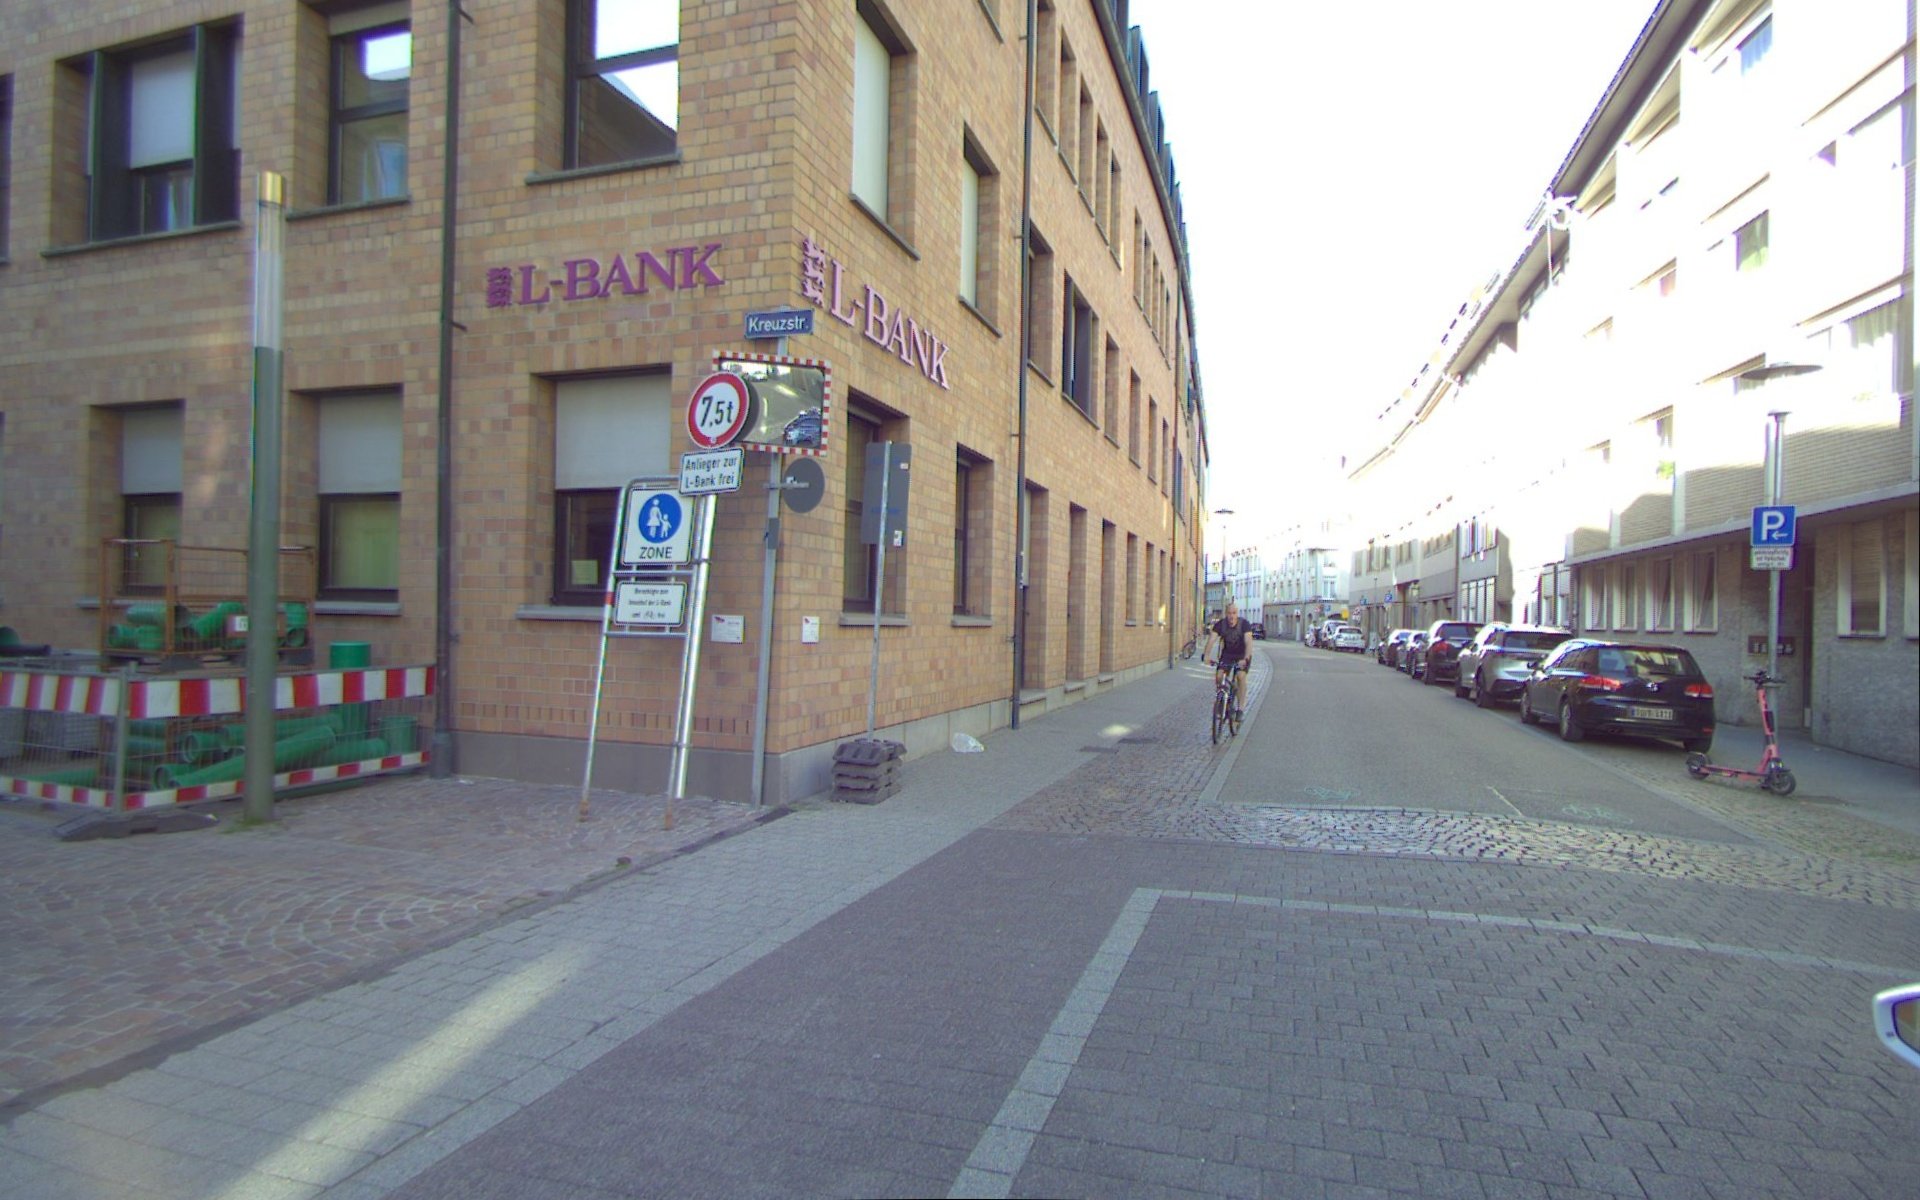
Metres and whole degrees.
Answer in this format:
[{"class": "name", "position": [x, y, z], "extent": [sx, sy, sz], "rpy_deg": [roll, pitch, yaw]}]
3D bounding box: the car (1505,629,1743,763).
[{"class": "car", "position": [9.791, 1.289, 15.261], "extent": [1.793, 1.524, 4.600], "rpy_deg": [4, 0, 19]}]

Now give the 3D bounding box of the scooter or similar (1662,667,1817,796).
[{"class": "scooter or similar", "position": [8.273, 1.361, 10.713], "extent": [0.485, 1.210, 1.304], "rpy_deg": [2, -1, -10]}]

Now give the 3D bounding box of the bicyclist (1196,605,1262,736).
[{"class": "bicyclist", "position": [3.588, 0.928, 13.366], "extent": [0.652, 1.664, 0.925], "rpy_deg": [-3, -2, 25]}]

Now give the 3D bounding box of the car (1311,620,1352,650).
[{"class": "car", "position": [24.257, 2.279, 65.675], "extent": [1.799, 1.814, 5.217], "rpy_deg": [2, -1, 13]}]

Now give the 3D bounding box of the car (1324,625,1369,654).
[{"class": "car", "position": [22.875, 2.310, 59.516], "extent": [1.809, 1.497, 4.170], "rpy_deg": [4, 0, 13]}]

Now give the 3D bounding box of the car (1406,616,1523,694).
[{"class": "car", "position": [13.650, 1.416, 27.491], "extent": [2.068, 1.809, 5.053], "rpy_deg": [3, 0, 18]}]

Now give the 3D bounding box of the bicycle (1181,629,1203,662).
[{"class": "bicycle", "position": [9.162, 1.794, 39.674], "extent": [0.620, 1.178, 1.805], "rpy_deg": [4, 0, 9]}]

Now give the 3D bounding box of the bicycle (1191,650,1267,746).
[{"class": "bicycle", "position": [3.618, 1.273, 13.400], "extent": [0.641, 1.146, 1.734], "rpy_deg": [-3, -3, 25]}]

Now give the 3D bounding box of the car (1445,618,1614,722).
[{"class": "car", "position": [11.370, 1.297, 20.446], "extent": [1.960, 1.724, 4.844], "rpy_deg": [4, 0, 18]}]

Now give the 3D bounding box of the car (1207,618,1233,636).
[{"class": "car", "position": [30.524, 3.172, 118.013], "extent": [2.018, 2.040, 4.175], "rpy_deg": [2, -1, 1]}]

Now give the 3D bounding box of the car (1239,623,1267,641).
[{"class": "car", "position": [29.575, 3.202, 101.386], "extent": [1.934, 1.714, 4.103], "rpy_deg": [3, -1, 6]}]

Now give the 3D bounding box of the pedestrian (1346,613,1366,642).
[{"class": "pedestrian", "position": [26.003, 1.824, 65.978], "extent": [1.024, 1.825, 1.199], "rpy_deg": [2, -1, 13]}]

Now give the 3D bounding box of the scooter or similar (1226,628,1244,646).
[{"class": "scooter or similar", "position": [19.480, 2.594, 71.132], "extent": [0.689, 1.233, 1.350], "rpy_deg": [0, -1, 40]}]

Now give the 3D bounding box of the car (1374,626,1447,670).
[{"class": "car", "position": [17.348, 1.785, 38.873], "extent": [1.862, 1.472, 5.227], "rpy_deg": [3, 0, 17]}]

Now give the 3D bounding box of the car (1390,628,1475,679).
[{"class": "car", "position": [15.584, 1.709, 33.361], "extent": [1.777, 1.431, 4.792], "rpy_deg": [4, 0, 16]}]
